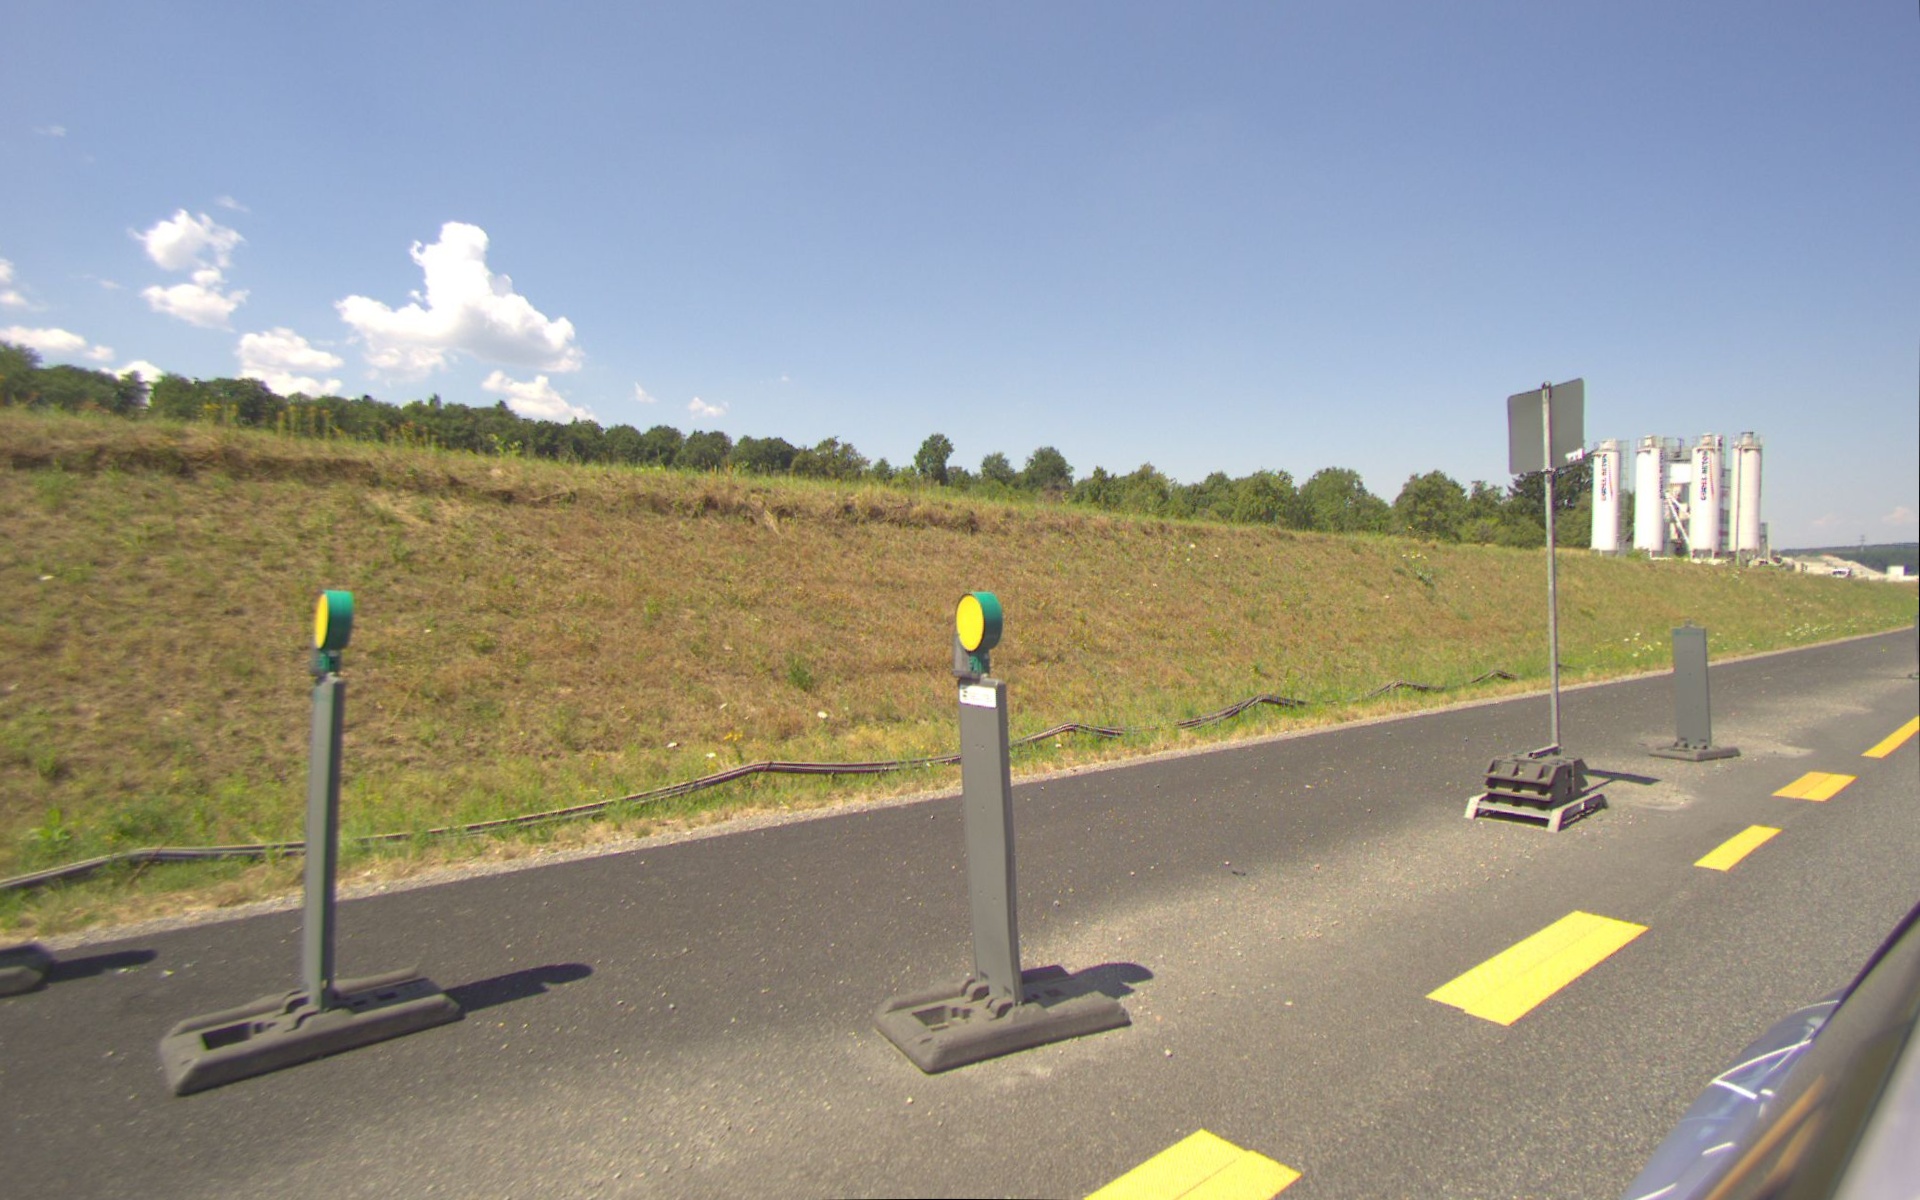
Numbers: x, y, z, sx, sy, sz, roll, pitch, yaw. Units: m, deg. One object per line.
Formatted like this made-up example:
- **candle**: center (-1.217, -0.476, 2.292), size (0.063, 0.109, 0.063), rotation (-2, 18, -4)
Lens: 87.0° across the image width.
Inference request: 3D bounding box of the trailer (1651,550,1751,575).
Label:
- **trailer**: center (83.646, -4.189, 114.385), size (2.424, 2.639, 8.903), rotation (-1, 2, -43)

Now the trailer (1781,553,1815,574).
- **trailer**: center (111.244, -4.788, 134.355), size (6.809, 2.677, 1.999), rotation (-1, 1, -38)
